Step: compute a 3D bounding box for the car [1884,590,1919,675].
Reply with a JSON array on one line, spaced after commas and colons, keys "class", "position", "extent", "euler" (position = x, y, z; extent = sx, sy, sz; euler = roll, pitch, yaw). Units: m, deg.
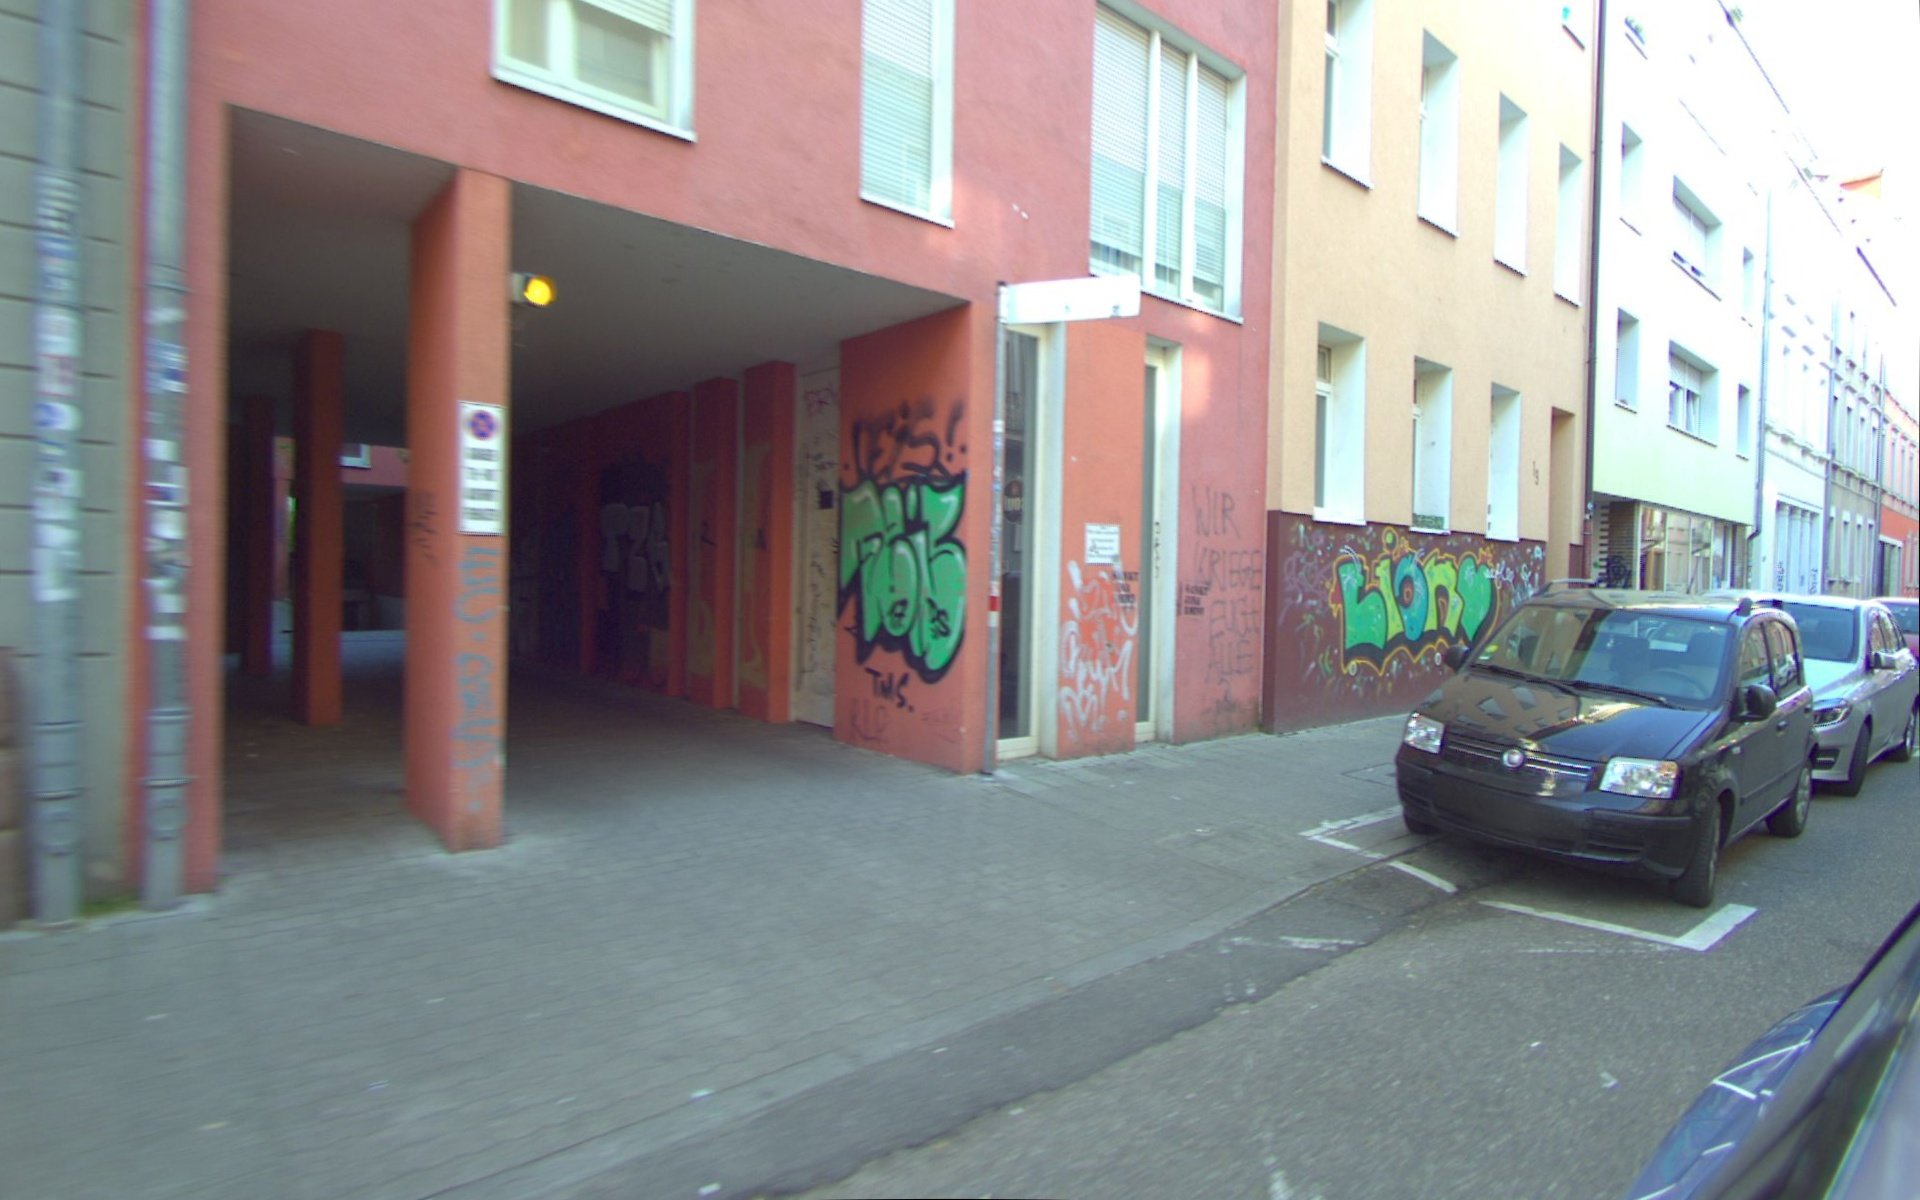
[{"class": "car", "position": [18.804, 0.607, 19.030], "extent": [4.122, 1.470, 1.691], "euler": [0, 4, -42]}]

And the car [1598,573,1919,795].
[{"class": "car", "position": [7.639, 0.592, 9.359], "extent": [4.097, 1.575, 1.750], "euler": [0, 2, -40]}]

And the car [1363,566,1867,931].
[{"class": "car", "position": [4.155, 0.648, 6.251], "extent": [3.389, 1.557, 1.606], "euler": [0, 5, -40]}]

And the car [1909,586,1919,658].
[{"class": "car", "position": [22.809, 0.514, 22.691], "extent": [3.930, 1.570, 1.793], "euler": [0, 3, -41]}]

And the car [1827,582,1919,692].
[{"class": "car", "position": [15.378, 0.547, 16.118], "extent": [3.909, 1.541, 1.701], "euler": [0, 4, -40]}]
